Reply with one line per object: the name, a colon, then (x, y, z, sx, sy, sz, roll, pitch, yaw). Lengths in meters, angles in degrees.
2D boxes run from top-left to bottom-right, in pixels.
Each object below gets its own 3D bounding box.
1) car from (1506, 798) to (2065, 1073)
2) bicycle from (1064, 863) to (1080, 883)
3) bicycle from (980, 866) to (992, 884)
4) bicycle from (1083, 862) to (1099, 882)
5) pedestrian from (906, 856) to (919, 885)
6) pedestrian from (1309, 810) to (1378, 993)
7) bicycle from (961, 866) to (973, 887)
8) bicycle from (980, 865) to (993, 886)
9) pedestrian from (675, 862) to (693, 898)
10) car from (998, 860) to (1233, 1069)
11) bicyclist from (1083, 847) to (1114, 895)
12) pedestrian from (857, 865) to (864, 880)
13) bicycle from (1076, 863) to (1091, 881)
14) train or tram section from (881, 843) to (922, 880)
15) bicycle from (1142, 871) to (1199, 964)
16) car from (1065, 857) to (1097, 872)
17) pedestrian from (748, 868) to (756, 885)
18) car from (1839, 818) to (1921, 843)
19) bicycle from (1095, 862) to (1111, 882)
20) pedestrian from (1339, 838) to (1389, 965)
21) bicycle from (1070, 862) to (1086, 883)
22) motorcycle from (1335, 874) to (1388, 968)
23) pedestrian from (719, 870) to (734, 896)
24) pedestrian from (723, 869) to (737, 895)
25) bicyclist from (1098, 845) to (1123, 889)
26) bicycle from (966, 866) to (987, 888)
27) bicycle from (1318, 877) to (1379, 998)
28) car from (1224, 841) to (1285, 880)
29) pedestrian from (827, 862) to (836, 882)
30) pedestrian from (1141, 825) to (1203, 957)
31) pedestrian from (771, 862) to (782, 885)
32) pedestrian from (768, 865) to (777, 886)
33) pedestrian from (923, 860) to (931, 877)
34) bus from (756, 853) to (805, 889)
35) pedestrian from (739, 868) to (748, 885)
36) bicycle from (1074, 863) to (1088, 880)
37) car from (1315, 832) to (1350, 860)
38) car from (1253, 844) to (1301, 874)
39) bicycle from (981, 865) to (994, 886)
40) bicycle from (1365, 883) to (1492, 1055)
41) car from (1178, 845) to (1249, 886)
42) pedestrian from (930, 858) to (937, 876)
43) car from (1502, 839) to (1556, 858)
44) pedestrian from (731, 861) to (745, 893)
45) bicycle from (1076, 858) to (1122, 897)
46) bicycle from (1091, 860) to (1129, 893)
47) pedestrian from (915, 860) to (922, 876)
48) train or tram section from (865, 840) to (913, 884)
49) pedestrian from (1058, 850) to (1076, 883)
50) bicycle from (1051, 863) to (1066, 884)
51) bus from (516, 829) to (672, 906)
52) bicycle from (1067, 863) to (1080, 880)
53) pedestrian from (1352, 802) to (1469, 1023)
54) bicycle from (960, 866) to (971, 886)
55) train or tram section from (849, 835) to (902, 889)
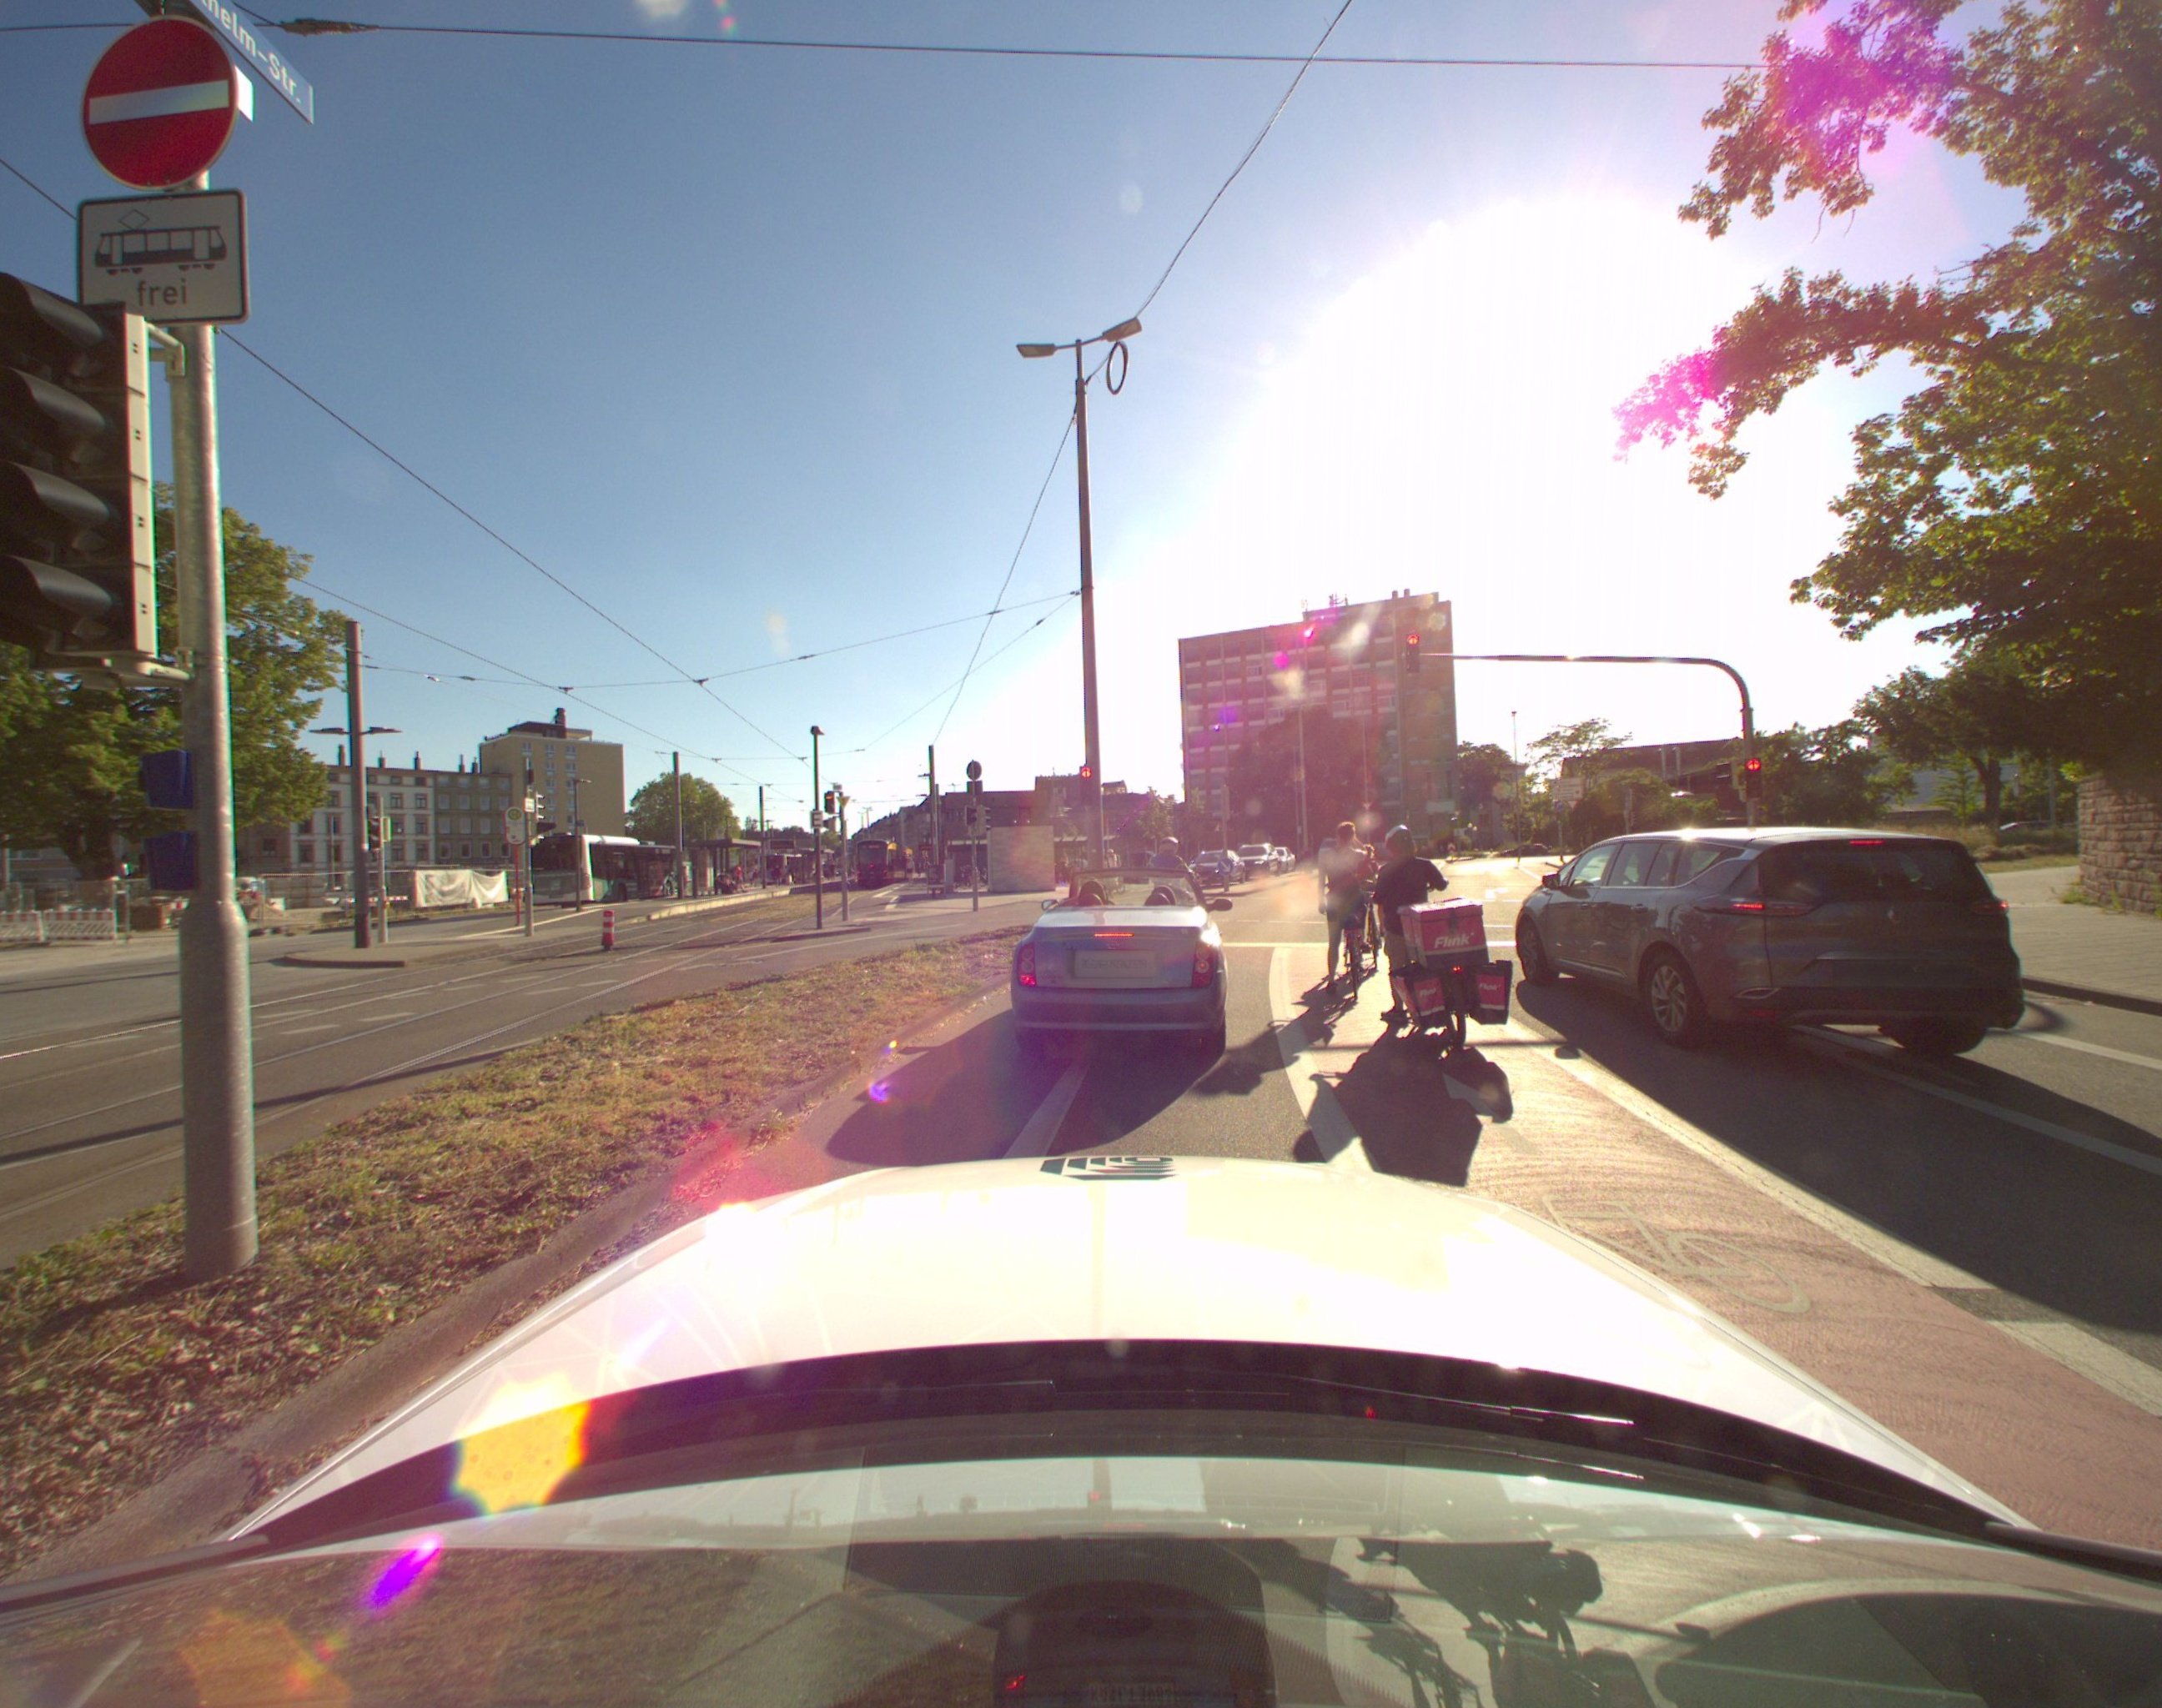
car: (5.539, 0.522, 7.318, 1.820, 1.689, 4.381, -1, -1, 10)
bicycle: (-0.544, 1.092, 47.350, 0.607, 1.115, 1.890, 0, -1, -10)
bicycle: (-5.904, 1.286, 50.622, 0.607, 1.115, 1.890, 0, -1, -10)
bicycle: (0.555, 1.055, 47.712, 0.607, 1.115, 1.890, 0, -1, -10)
pedestrian: (-10.383, 1.028, 50.179, 0.639, 1.749, 0.569, -2, -1, -17)
pedestrian: (2.834, 0.490, 8.837, 0.654, 1.869, 0.876, -1, -1, 17)
bicycle: (-6.215, 1.231, 44.357, 0.607, 1.115, 1.890, 0, -1, -10)
bicycle: (-5.179, 1.192, 44.663, 0.607, 1.115, 1.890, 0, -1, -10)
pedestrian: (-19.623, 1.271, 40.262, 0.536, 1.749, 0.559, -2, -1, -4)
car: (0.547, 0.782, 7.794, 1.650, 1.441, 4.164, -1, -1, 9)
bicyclist: (0.625, 0.595, 28.902, 0.702, 1.657, 0.906, -5, -2, 24)
pedestrian: (-27.307, 2.312, 100.780, 0.732, 1.749, 0.638, -2, -1, -6)
bicycle: (0.128, 1.137, 51.412, 0.607, 1.115, 1.890, 0, -1, -10)
train or tram section: (-18.603, 0.811, 85.226, 3.037, 3.597, 12.021, 0, 0, -7)
bicycle: (1.356, 0.865, 11.985, 0.604, 1.191, 2.422, -1, -1, 12)
car: (-0.033, 1.176, 88.861, 1.653, 1.560, 3.559, -2, 0, -37)
pedestrian: (-34.365, 2.313, 85.054, 0.638, 1.749, 0.570, -2, -1, -10)
car: (59.203, -1.733, 60.436, 3.949, 1.530, 1.816, -4, -1, 29)
bicycle: (1.236, 1.006, 45.677, 0.606, 1.115, 1.892, 0, -1, -7)
pedestrian: (3.768, 0.605, 10.843, 0.583, 1.598, 1.030, -1, -1, 19)
bicycle: (-0.181, 1.014, 45.409, 0.607, 1.115, 1.890, 0, -1, -10)
motorcycle: (3.825, 0.844, 11.102, 0.608, 1.097, 2.371, -1, -1, 19)
pedestrian: (-18.605, 1.520, 42.774, 0.617, 1.340, 0.438, -2, -1, -15)
pedestrian: (-18.734, 1.473, 43.461, 0.571, 1.346, 0.636, -2, -1, -15)
bicyclist: (1.145, 0.489, 31.599, 0.702, 1.657, 0.747, -3, -1, 24)
bicycle: (-5.469, 1.202, 42.733, 0.603, 1.115, 1.901, 0, -1, 8)
bicycle: (2.931, 0.848, 9.020, 0.559, 1.151, 1.958, -1, -1, 17)
car: (8.505, 0.259, 39.601, 1.745, 1.706, 4.557, -4, -1, 26)
pedestrian: (-22.443, 1.598, 73.233, 0.641, 1.749, 0.567, -2, -1, -25)
pedestrian: (1.367, 0.526, 12.055, 0.828, 1.869, 0.923, -1, -1, 10)
pedestrian: (-23.329, 1.513, 62.363, 0.641, 1.749, 0.567, -2, -1, -25)
pedestrian: (-25.387, 1.779, 67.075, 0.571, 1.749, 0.636, -2, -1, -17)
pedestrian: (-15.672, 1.460, 82.733, 0.639, 1.749, 0.732, -2, -1, -17)
bus: (-29.671, 1.585, 80.945, 2.723, 3.274, 13.409, 0, -1, -12)
pedestrian: (-35.302, 2.316, 85.238, 0.637, 1.749, 0.571, -2, -1, -5)
bicycle: (-0.033, 1.131, 53.389, 0.607, 1.115, 1.890, 0, -1, -10)
car: (19.622, -0.622, 63.420, 1.891, 1.945, 4.733, -4, -1, 24)
car: (11.164, 0.251, 46.214, 1.678, 1.560, 4.004, -3, 0, 28)
bicycle: (-5.376, 1.224, 46.733, 0.607, 1.115, 1.890, 0, -1, -10)
bicycle: (2.932, 0.873, 7.092, 0.550, 1.171, 2.380, -1, -1, 12)
car: (5.545, 0.468, 33.640, 1.720, 1.574, 3.948, -1, -1, 28)
pedestrian: (-15.046, 1.343, 83.020, 0.639, 1.749, 0.732, -2, -1, -17)
car: (43.477, -0.537, 79.127, 4.337, 1.530, 1.817, -4, -1, 35)
pedestrian: (-19.113, 1.274, 45.337, 0.571, 1.749, 0.636, -2, -1, -15)
bicycle: (0.673, 0.811, 28.967, 0.668, 1.250, 2.471, -5, -1, 24)
bicycle: (1.152, 0.846, 31.570, 0.668, 1.180, 2.195, -3, 0, 24)
pedestrian: (-18.075, 1.529, 90.533, 0.604, 1.749, 0.830, -2, -1, -6)
train or tram section: (-17.068, 0.704, 73.255, 3.010, 3.597, 12.165, 0, 0, -8)
pedestrian: (-0.811, 0.707, 46.954, 0.901, 1.869, 0.684, 0, -1, -11)
bicycle: (-1.255, 1.081, 45.293, 0.607, 1.115, 1.890, 0, -1, -10)
bus: (-22.373, 0.572, 38.220, 2.652, 3.135, 9.617, 0, -1, -8)
bicycle: (-0.560, 1.204, 56.909, 0.607, 1.115, 1.890, 0, -1, -10)
pedestrian: (2.975, 0.502, 7.445, 0.801, 1.869, 0.959, -1, -1, 10)
bicycle: (-6.562, 1.250, 46.291, 0.606, 1.115, 1.891, 0, -1, -8)
train or tram section: (-15.263, 0.581, 61.213, 2.881, 3.597, 12.158, 0, -1, -10)
